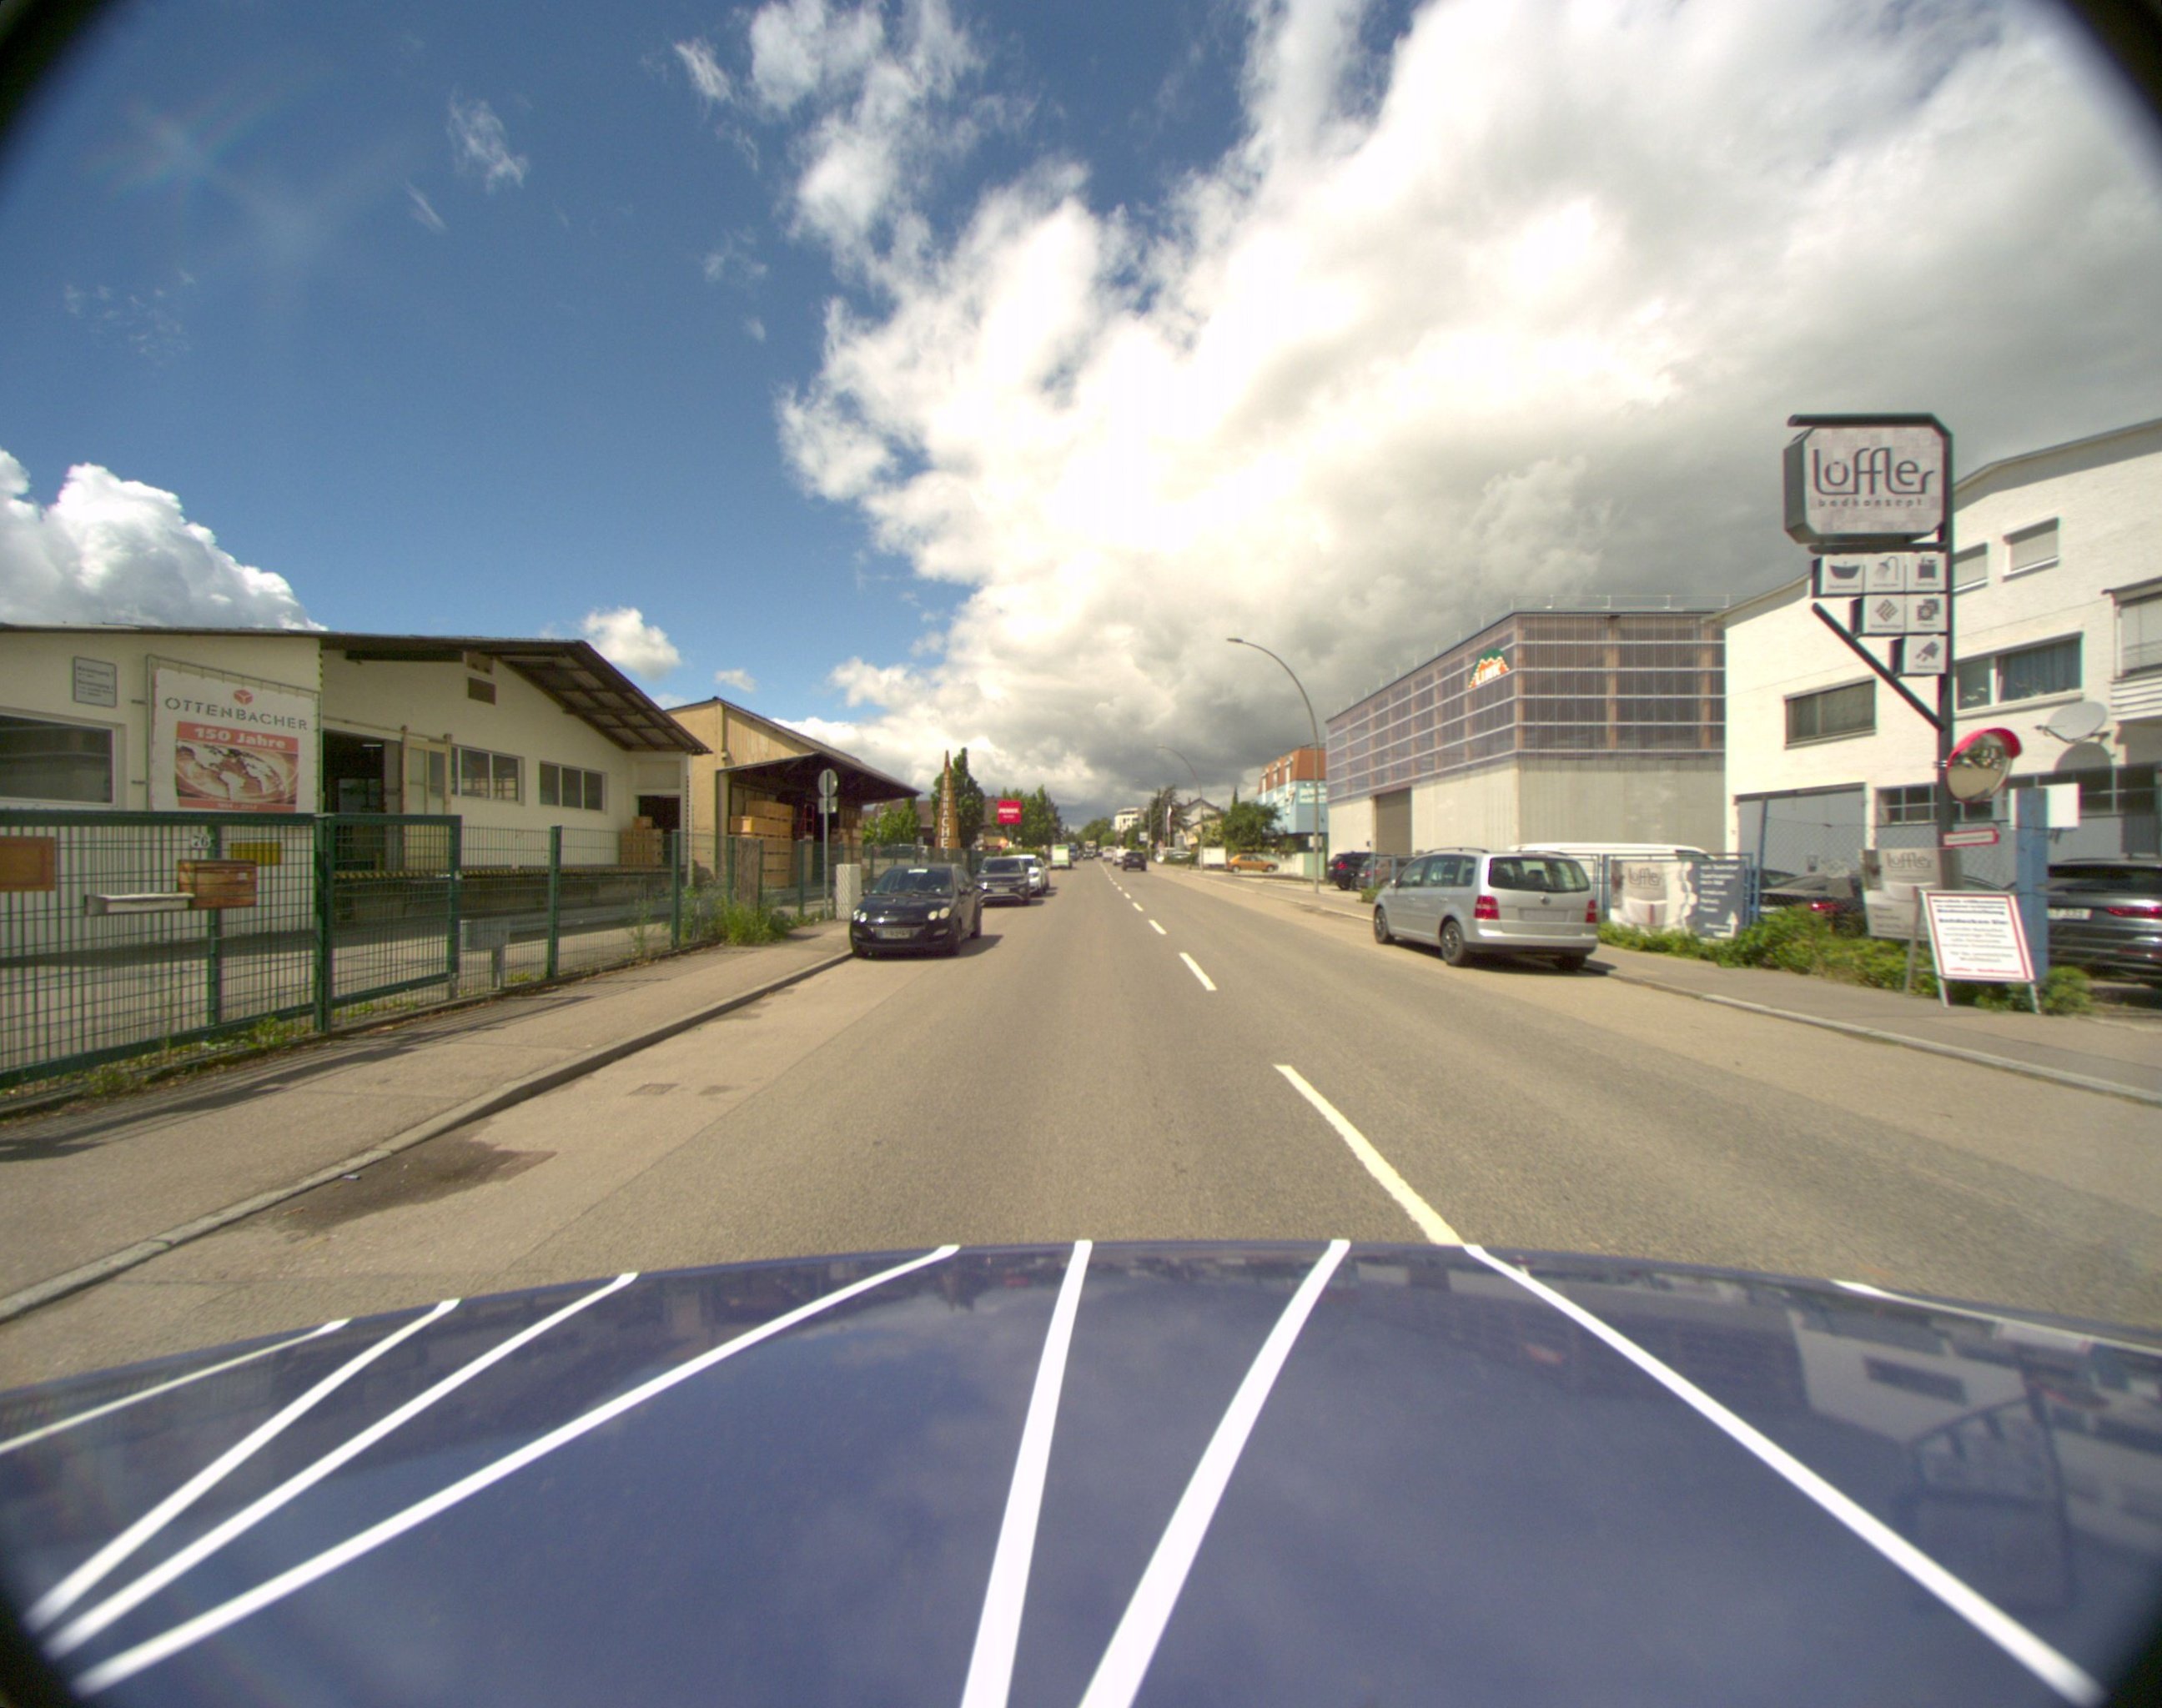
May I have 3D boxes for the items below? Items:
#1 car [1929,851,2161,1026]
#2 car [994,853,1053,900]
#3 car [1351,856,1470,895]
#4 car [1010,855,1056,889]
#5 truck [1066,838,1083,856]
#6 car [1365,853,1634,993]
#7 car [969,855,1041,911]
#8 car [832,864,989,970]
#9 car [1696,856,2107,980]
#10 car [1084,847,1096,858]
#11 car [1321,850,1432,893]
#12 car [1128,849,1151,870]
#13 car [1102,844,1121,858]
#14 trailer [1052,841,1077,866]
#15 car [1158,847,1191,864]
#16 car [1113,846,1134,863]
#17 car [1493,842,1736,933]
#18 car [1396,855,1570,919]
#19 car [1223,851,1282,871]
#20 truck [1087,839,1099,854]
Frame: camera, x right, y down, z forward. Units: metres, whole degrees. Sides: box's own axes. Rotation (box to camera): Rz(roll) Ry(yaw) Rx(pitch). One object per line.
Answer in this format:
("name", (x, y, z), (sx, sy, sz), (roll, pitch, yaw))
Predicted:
("car", (12.307, 0.799, 8.192), (4.169, 1.660, 1.999), (0, 1, -2))
("car", (-2.171, 0.806, 29.787), (1.835, 1.608, 4.000), (-3, 0, 2))
("car", (13.082, 0.843, 30.338), (3.955, 1.492, 1.777), (1, 0, -1))
("car", (-2.191, 0.780, 35.556), (1.806, 1.459, 4.000), (1, 0, 1))
("truck", (-1.052, -1.103, 123.116), (2.410, 2.722, 6.640), (-2, 1, 1))
("car", (5.978, 0.862, 11.525), (1.809, 1.666, 4.127), (2, 0, 1))
("car", (-2.390, 0.875, 24.999), (1.811, 1.566, 4.188), (-2, 1, 1))
("car", (-2.744, 0.952, 13.162), (1.759, 1.455, 4.000), (-1, 0, 0))
("car", (12.147, 0.892, 11.498), (3.998, 1.660, 2.103), (1, 1, -2))
("car", (1.639, -0.274, 134.971), (1.998, 1.802, 4.000), (0, 0, 1))
("car", (12.775, 0.725, 33.036), (3.997, 1.727, 2.000), (1, 2, 1))
("car", (4.971, 0.460, 65.104), (1.859, 1.686, 4.001), (0, 0, 4))
("car", (4.535, -0.478, 113.164), (2.384, 2.002, 6.383), (1, 0, -1))
("trailer", (-1.521, -0.072, 71.502), (2.044, 2.214, 5.079), (1, 0, 1))
("car", (11.562, 0.217, 94.166), (3.995, 2.002, 2.001), (1, 1, 5))
("car", (4.732, 0.063, 85.104), (1.999, 1.853, 3.835), (1, 0, -1))
("car", (11.757, 0.697, 16.988), (3.997, 1.866, 2.000), (1, 1, 1))
("car", (11.595, 0.921, 22.142), (3.997, 1.739, 2.000), (1, 1, 1))
("car", (13.035, 0.527, 57.918), (4.046, 1.485, 1.675), (1, 1, 0))
("truck", (2.877, -1.839, 182.909), (2.880, 3.290, 8.606), (-2, 1, 1))
